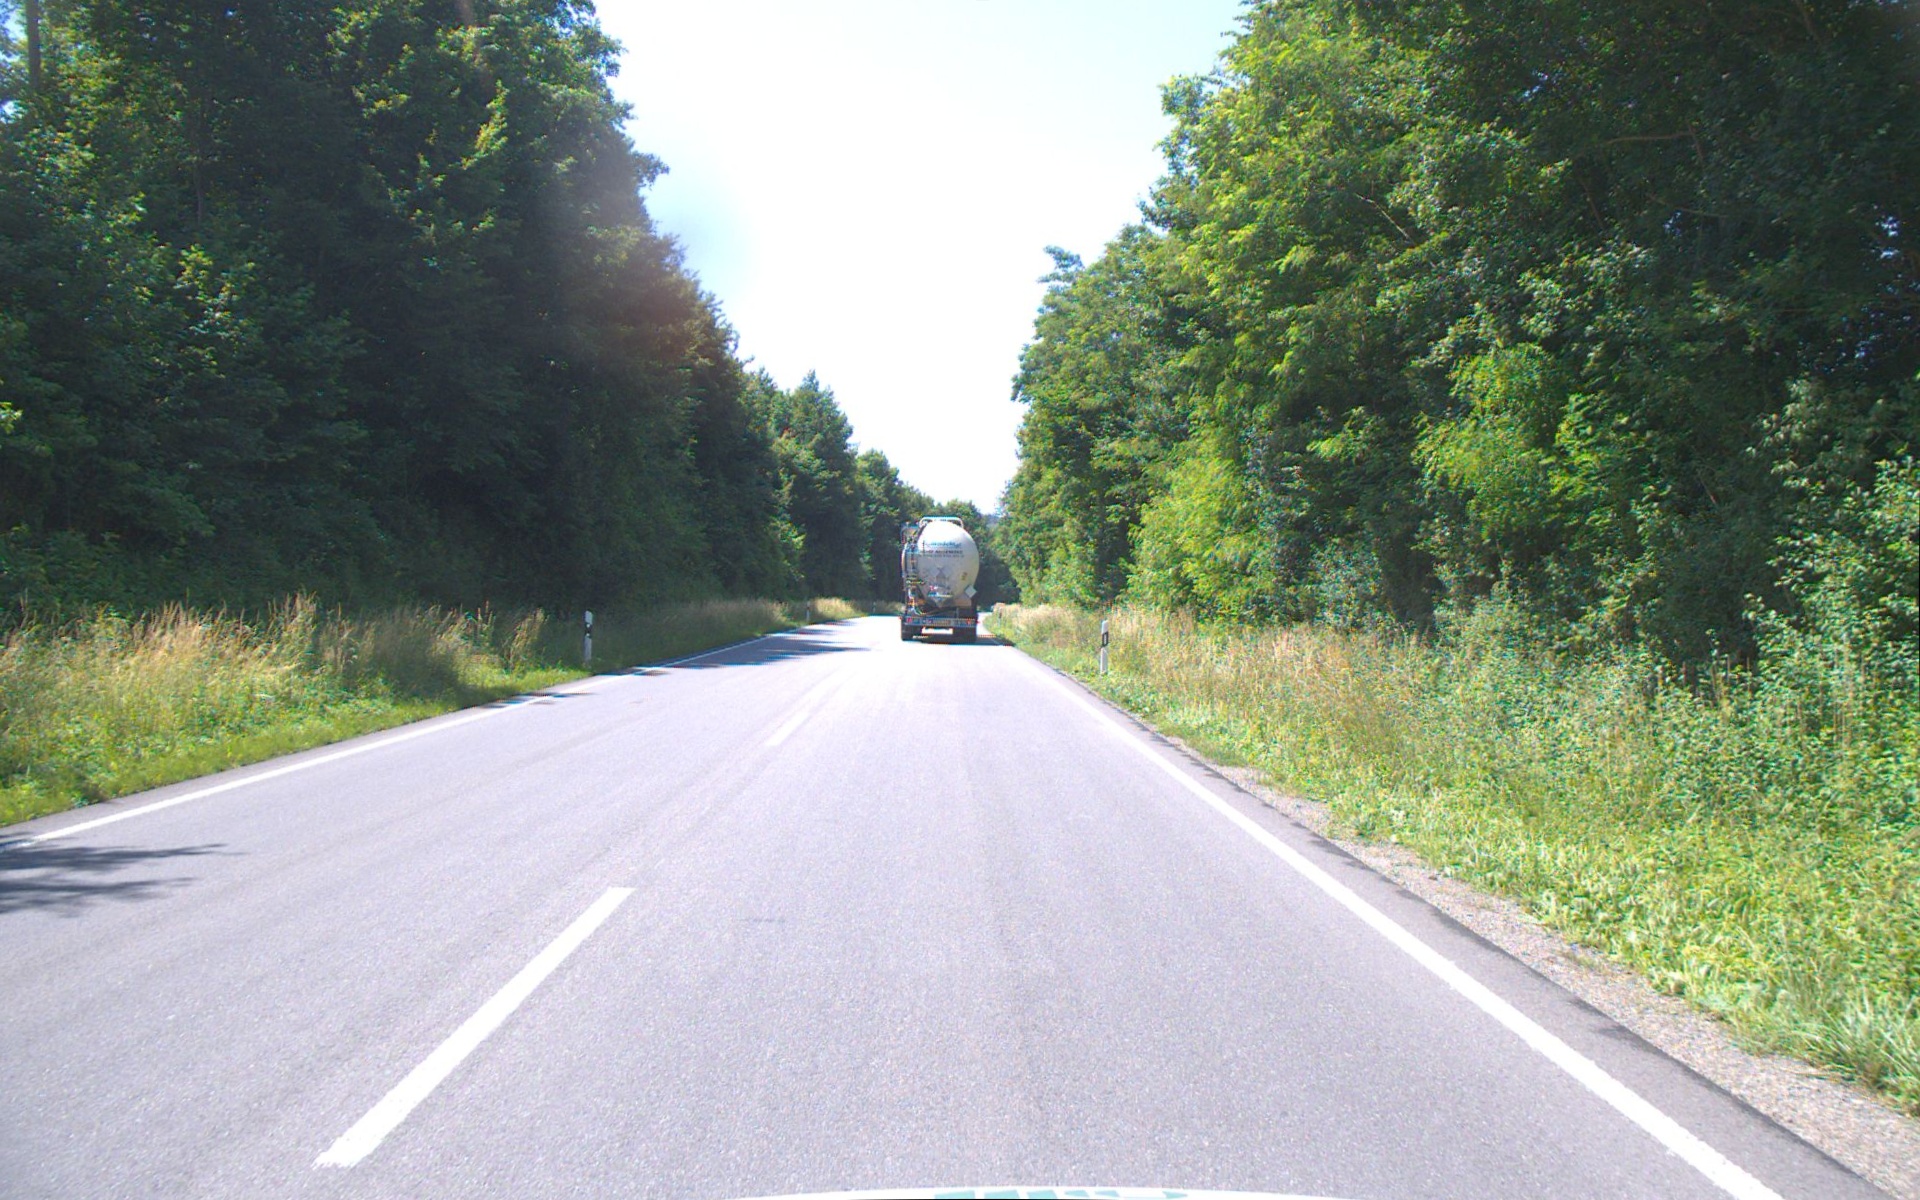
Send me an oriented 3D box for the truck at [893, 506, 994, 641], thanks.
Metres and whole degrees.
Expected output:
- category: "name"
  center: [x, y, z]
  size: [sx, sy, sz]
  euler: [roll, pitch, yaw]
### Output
- category: "truck"
  center: [-0.660, -0.811, 59.297]
  size: [2.988, 4.068, 15.632]
  euler: [2, 0, -1]
